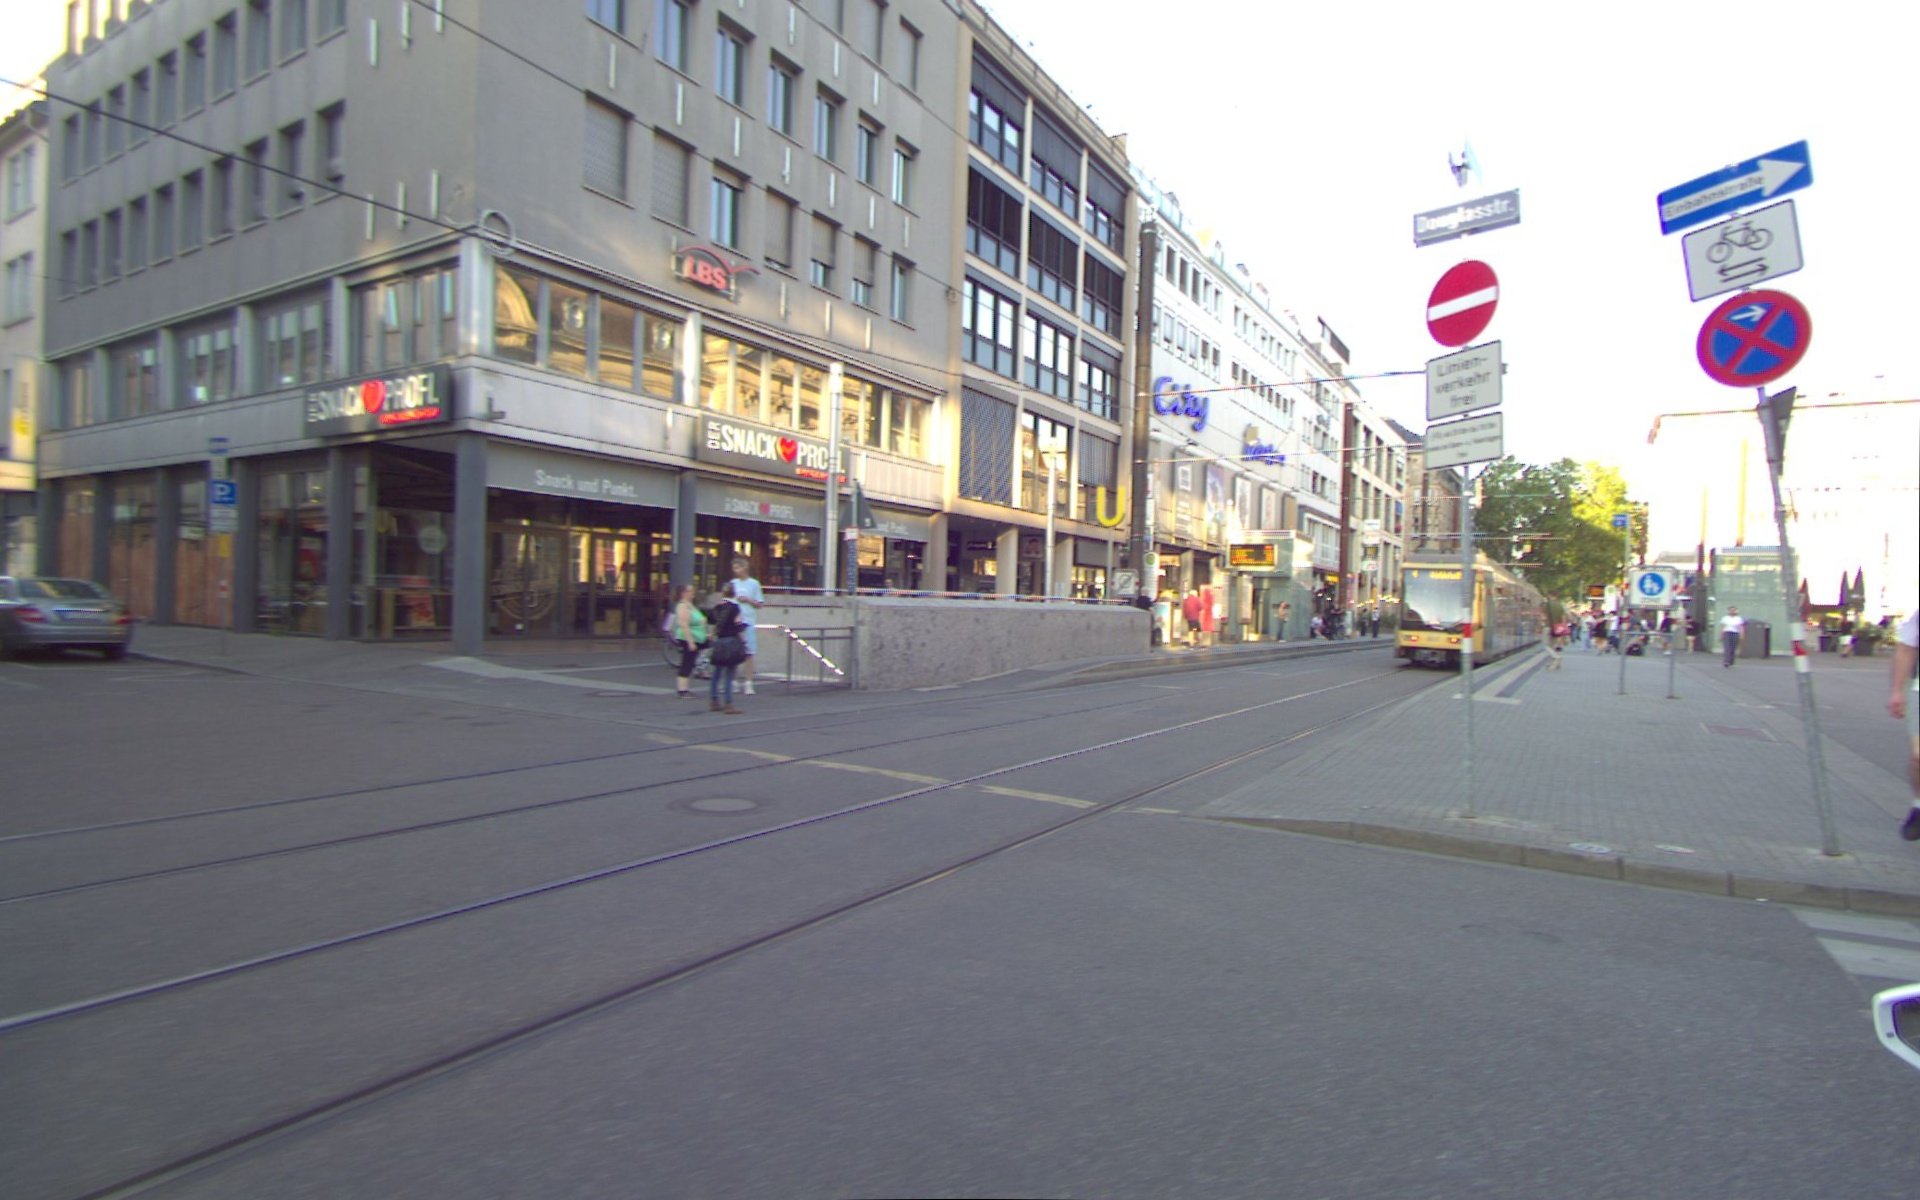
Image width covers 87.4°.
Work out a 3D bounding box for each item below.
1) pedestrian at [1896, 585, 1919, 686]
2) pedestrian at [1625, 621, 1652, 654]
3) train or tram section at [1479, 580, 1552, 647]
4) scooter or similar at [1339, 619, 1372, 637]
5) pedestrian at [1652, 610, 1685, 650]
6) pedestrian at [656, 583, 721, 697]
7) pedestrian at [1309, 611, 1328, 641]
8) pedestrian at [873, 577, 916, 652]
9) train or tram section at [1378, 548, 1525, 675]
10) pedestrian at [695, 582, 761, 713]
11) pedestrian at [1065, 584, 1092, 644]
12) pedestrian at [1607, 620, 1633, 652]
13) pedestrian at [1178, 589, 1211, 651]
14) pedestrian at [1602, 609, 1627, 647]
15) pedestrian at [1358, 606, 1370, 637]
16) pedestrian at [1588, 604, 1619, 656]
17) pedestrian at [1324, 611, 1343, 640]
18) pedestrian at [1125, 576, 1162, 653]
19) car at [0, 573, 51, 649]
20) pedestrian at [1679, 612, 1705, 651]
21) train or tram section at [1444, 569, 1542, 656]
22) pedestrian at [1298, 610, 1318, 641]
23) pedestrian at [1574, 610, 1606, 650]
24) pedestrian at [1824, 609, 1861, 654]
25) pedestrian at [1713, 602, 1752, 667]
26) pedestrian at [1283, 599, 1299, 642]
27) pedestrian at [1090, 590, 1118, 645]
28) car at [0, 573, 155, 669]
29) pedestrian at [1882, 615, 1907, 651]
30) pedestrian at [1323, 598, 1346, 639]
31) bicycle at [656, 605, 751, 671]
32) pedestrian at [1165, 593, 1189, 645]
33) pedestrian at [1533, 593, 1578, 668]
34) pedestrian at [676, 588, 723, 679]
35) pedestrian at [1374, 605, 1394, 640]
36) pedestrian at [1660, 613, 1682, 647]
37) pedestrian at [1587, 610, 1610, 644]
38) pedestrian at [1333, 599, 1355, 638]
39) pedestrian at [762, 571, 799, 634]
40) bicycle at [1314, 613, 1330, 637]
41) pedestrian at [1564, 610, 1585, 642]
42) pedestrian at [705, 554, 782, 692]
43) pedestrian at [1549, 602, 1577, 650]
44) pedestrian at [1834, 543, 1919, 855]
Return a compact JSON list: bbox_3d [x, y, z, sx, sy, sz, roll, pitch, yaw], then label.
[{"bbox_3d":[19.927,0.744,20.697,0.910,2.040,0.764,2,0,-39],"label":"pedestrian"},{"bbox_3d":[26.266,1.434,38.884,0.780,1.238,0.768,2,0,30],"label":"pedestrian"},{"bbox_3d":[32.273,0.754,57.974,2.761,3.363,14.471,2,0,32],"label":"train or tram section"},{"bbox_3d":[19.736,1.408,50.080,1.502,0.842,0.557,2,-1,-18],"label":"scooter or similar"},{"bbox_3d":[30.331,1.287,43.005,0.755,1.683,0.794,2,0,-8],"label":"pedestrian"},{"bbox_3d":[-3.727,0.535,13.805,0.594,1.513,0.555,2,-1,25],"label":"pedestrian"},{"bbox_3d":[17.038,1.218,47.774,0.697,1.397,0.719,2,-1,32],"label":"pedestrian"},{"bbox_3d":[-1.580,0.344,24.140,0.703,1.748,0.708,2,-1,32],"label":"pedestrian"},{"bbox_3d":[16.810,0.379,33.552,2.761,3.363,14.471,2,0,32],"label":"train or tram section"},{"bbox_3d":[-2.842,0.576,12.291,0.676,1.562,0.603,2,-1,-19],"label":"pedestrian"},{"bbox_3d":[3.534,0.422,30.027,0.617,1.748,0.604,2,-1,-10],"label":"pedestrian"},{"bbox_3d":[26.205,1.431,39.891,0.780,1.238,0.768,2,0,30],"label":"pedestrian"},{"bbox_3d":[6.632,0.571,28.397,0.703,1.720,0.785,2,-1,27],"label":"pedestrian"},{"bbox_3d":[30.091,1.274,46.162,0.784,1.683,0.764,2,1,45],"label":"pedestrian"},{"bbox_3d":[22.977,1.234,57.119,0.591,1.750,0.607,2,-1,26],"label":"pedestrian"},{"bbox_3d":[23.232,1.083,36.296,0.721,1.847,0.820,2,0,19],"label":"pedestrian"},{"bbox_3d":[18.787,1.291,50.523,0.697,1.397,0.719,2,-1,32],"label":"pedestrian"},{"bbox_3d":[4.769,0.369,26.056,0.703,1.950,0.708,2,-1,28],"label":"pedestrian"},{"bbox_3d":[-21.212,0.169,21.269,4.060,1.530,1.796,2,-1,31],"label":"car"},{"bbox_3d":[32.565,1.382,44.669,0.784,1.683,0.764,2,1,45],"label":"pedestrian"},{"bbox_3d":[24.552,0.567,45.773,2.761,3.363,14.471,2,0,32],"label":"train or tram section"},{"bbox_3d":[15.933,1.172,45.968,0.697,1.397,0.719,2,-1,32],"label":"pedestrian"},{"bbox_3d":[25.772,1.237,41.105,0.785,1.600,0.764,1,0,-27],"label":"pedestrian"},{"bbox_3d":[37.012,1.309,42.126,0.834,1.847,0.775,1,0,-5],"label":"pedestrian"},{"bbox_3d":[22.282,0.990,28.997,0.761,1.847,0.938,0,-1,30],"label":"pedestrian"},{"bbox_3d":[12.866,0.803,38.997,0.503,1.639,0.505,2,-1,24],"label":"pedestrian"},{"bbox_3d":[4.272,0.514,29.821,0.617,1.609,0.604,2,-1,-9],"label":"pedestrian"},{"bbox_3d":[-16.394,0.313,17.964,4.060,1.530,1.796,2,-1,31],"label":"car"},{"bbox_3d":[49.478,1.724,53.185,0.761,1.849,0.848,2,0,30],"label":"pedestrian"},{"bbox_3d":[16.315,0.813,43.788,0.695,1.748,0.776,2,-1,3],"label":"pedestrian"},{"bbox_3d":[-4.730,0.677,18.610,0.492,1.122,1.792,2,1,38],"label":"bicycle"},{"bbox_3d":[6.822,0.604,31.610,0.593,1.609,0.628,2,-1,24],"label":"pedestrian"},{"bbox_3d":[14.157,0.718,23.894,0.706,1.748,0.710,2,-1,16],"label":"pedestrian"},{"bbox_3d":[-4.298,0.547,16.551,0.674,1.453,0.553,2,-1,-19],"label":"pedestrian"},{"bbox_3d":[21.674,1.148,51.345,0.762,1.748,0.708,2,-1,33],"label":"pedestrian"},{"bbox_3d":[36.326,1.539,51.338,0.784,1.683,0.764,2,1,45],"label":"pedestrian"},{"bbox_3d":[32.140,1.358,50.541,0.784,1.683,0.764,2,1,45],"label":"pedestrian"},{"bbox_3d":[17.302,0.831,45.298,0.695,1.748,0.776,2,-1,4],"label":"pedestrian"},{"bbox_3d":[-5.093,0.078,28.558,0.703,1.748,0.708,2,-1,32],"label":"pedestrian"},{"bbox_3d":[17.922,1.234,49.767,0.425,1.157,1.619,2,0,9],"label":"bicycle"},{"bbox_3d":[32.631,1.381,53.371,0.790,1.683,0.759,1,1,-45],"label":"pedestrian"},{"bbox_3d":[-3.147,0.327,14.639,0.761,1.951,0.709,2,-1,25],"label":"pedestrian"},{"bbox_3d":[23.595,1.007,39.328,0.721,1.847,0.820,2,0,19],"label":"pedestrian"},{"bbox_3d":[6.279,0.616,6.349,1.036,1.888,1.003,2,0,-44],"label":"pedestrian"}]
